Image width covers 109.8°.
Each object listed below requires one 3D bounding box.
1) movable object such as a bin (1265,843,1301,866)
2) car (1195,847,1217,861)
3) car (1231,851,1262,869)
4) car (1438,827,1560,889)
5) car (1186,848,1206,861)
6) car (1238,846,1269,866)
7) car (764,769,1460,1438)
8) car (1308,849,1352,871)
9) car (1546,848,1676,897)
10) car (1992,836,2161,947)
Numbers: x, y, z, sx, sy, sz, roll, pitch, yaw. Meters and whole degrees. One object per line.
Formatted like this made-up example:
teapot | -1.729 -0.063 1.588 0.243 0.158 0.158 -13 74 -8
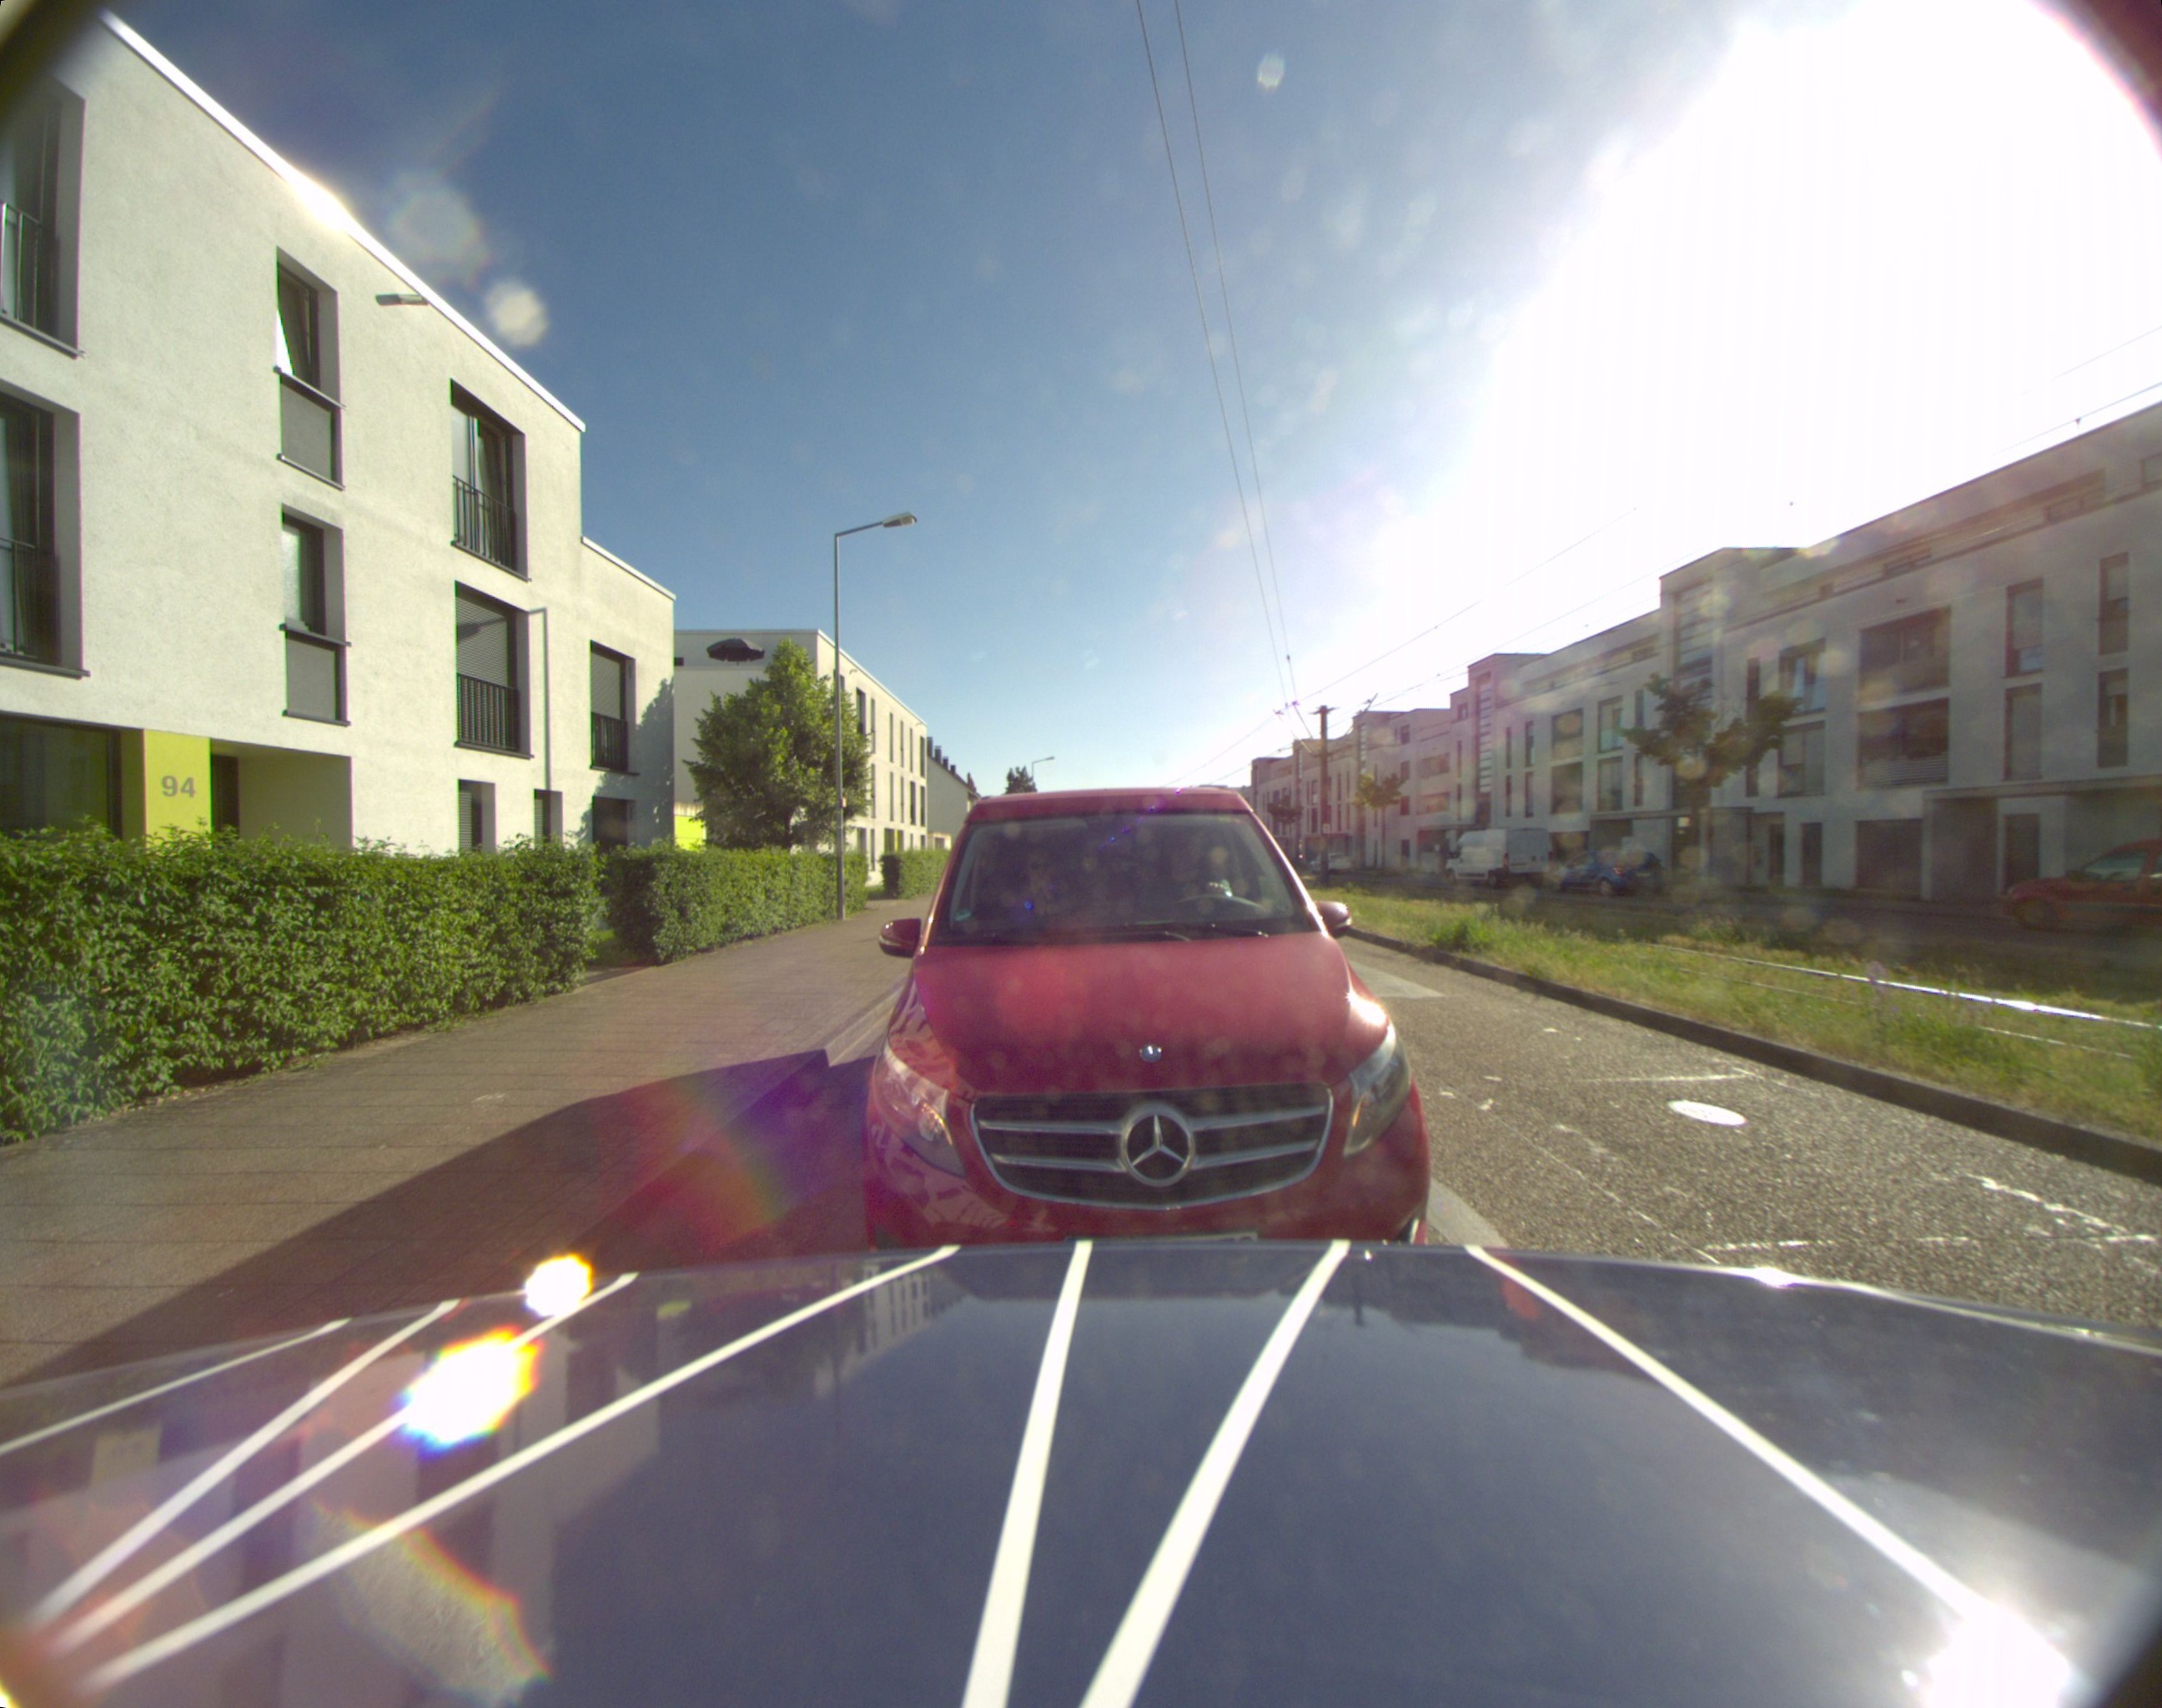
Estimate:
movable object such as a bin | 17.651 0.042 66.523 1.766 1.926 4.155 -2 0 -4
car | 15.420 0.024 93.956 1.766 1.590 4.155 -2 0 -4
car | 13.891 0.483 64.137 1.792 1.410 4.000 1 0 1
car | 18.157 0.148 33.397 2.146 2.430 5.588 -2 0 -1
car | 15.032 0.032 99.591 1.766 1.590 4.155 -2 0 -4
car | 16.810 0.207 74.275 1.766 1.859 4.155 -2 0 -4
car | 0.151 0.740 4.847 1.979 1.922 5.205 -2 0 1
car | 17.557 0.413 53.761 1.521 1.424 4.155 -2 0 -4
car | 18.296 0.601 26.459 1.829 1.528 3.842 -2 0 0
car | 18.591 0.598 12.803 1.885 1.785 3.837 -2 0 1
